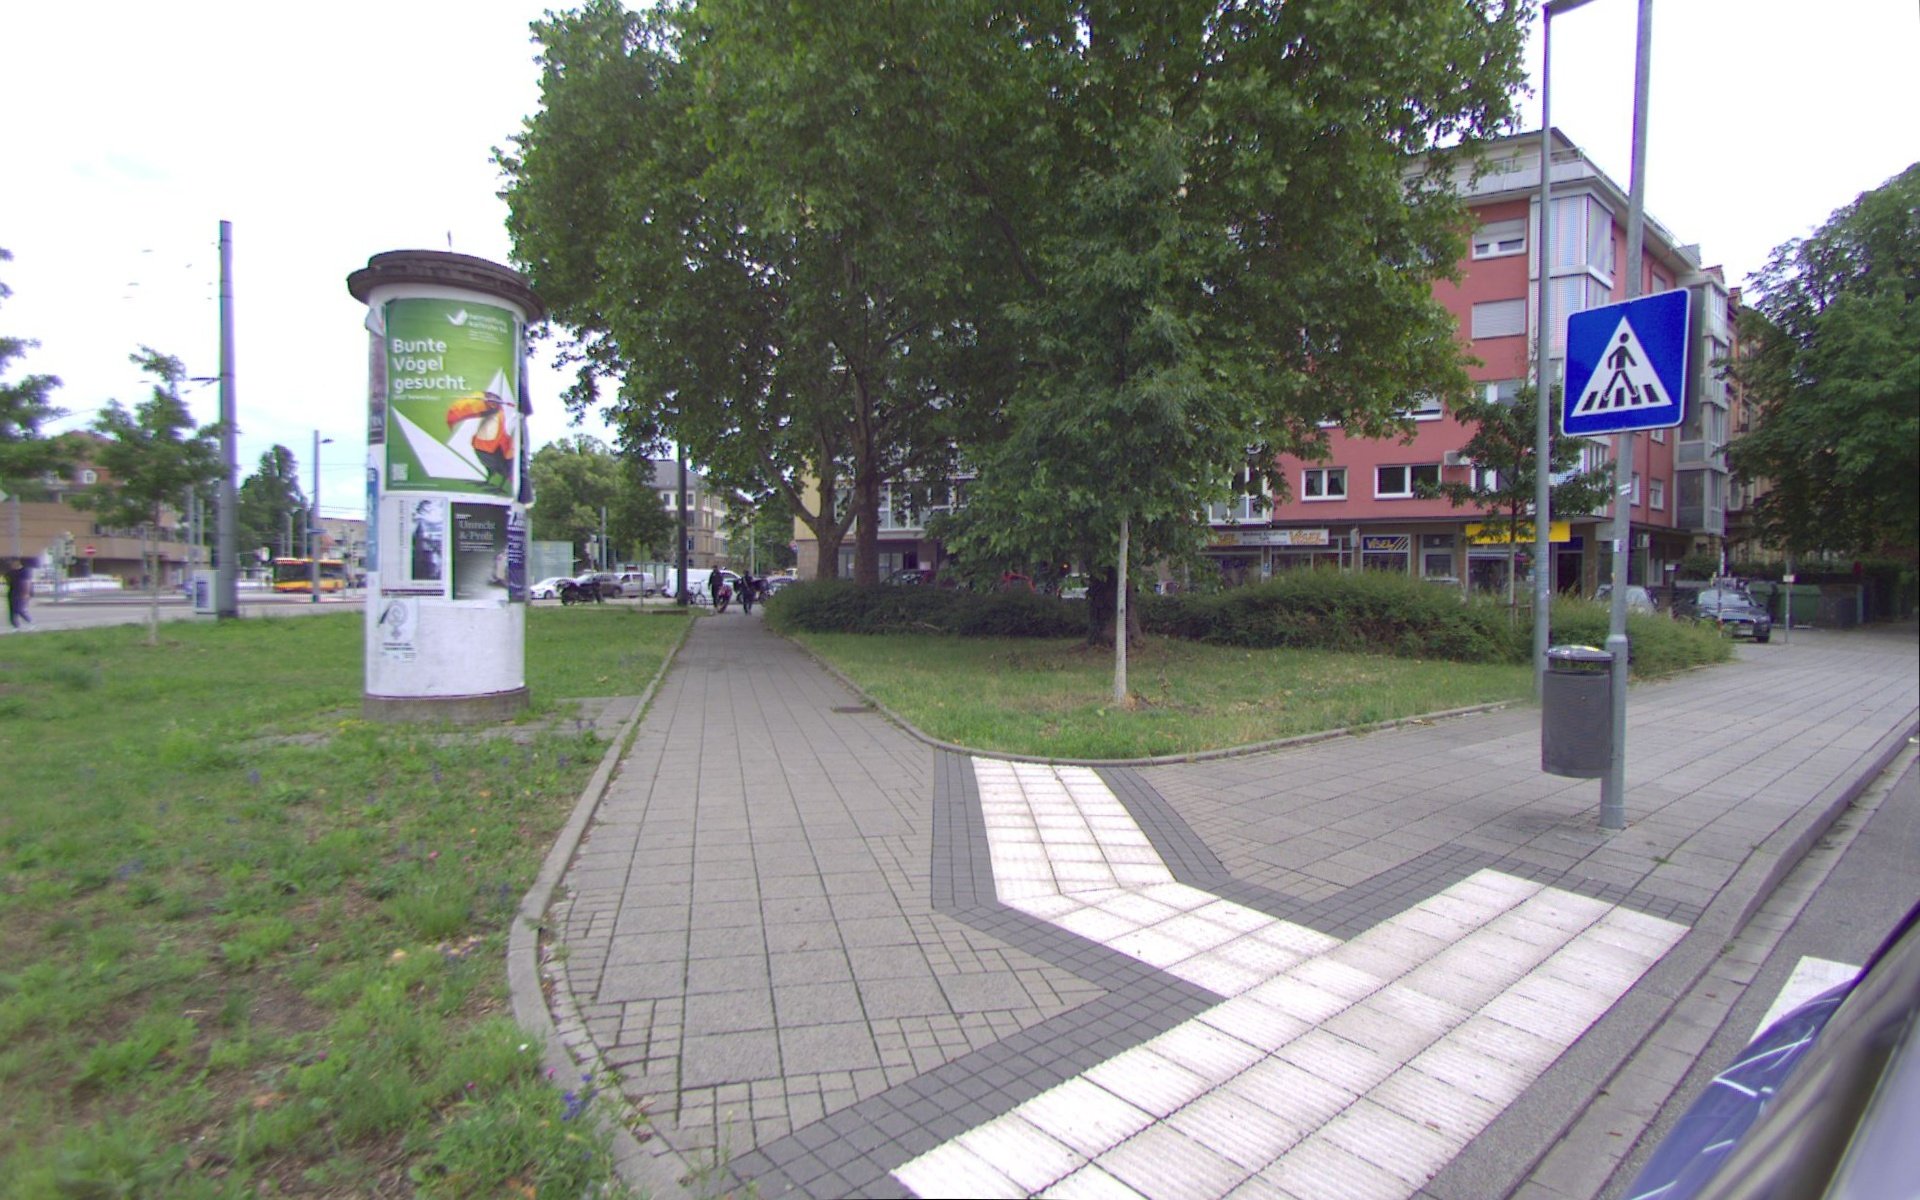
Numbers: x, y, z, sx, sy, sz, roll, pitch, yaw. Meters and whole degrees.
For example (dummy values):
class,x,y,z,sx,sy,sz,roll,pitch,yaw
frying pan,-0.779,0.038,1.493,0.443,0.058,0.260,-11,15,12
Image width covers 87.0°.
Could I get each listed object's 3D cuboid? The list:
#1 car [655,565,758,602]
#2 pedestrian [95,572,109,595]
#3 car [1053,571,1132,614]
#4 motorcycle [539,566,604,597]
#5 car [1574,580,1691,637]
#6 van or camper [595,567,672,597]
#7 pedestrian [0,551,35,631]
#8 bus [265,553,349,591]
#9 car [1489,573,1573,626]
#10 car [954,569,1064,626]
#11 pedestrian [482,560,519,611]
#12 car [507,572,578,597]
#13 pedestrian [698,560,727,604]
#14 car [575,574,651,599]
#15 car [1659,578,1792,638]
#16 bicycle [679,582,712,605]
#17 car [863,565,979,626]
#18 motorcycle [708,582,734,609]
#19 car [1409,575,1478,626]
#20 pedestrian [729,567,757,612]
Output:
class,x,y,z,sx,sy,sz,roll,pitch,yaw
car,-14.503,-0.932,58.240,5.618,2.039,2.031,-1,0,-12
pedestrian,-73.025,-1.406,86.123,0.695,1.942,0.624,0,1,-22
car,5.219,-0.333,39.441,1.841,1.567,4.439,1,1,24
motorcycle,-15.427,-0.728,40.224,0.763,1.183,2.352,1,1,39
car,20.670,0.184,31.319,1.836,1.567,4.451,0,2,18
van or camper,-23.135,-1.229,71.967,2.175,2.039,5.104,-1,0,29
pedestrian,-22.529,-0.211,24.038,0.526,1.867,0.988,0,1,-25
bus,-58.303,-2.459,90.724,2.908,3.162,11.564,0,1,-15
car,18.133,-0.057,32.318,1.840,1.567,4.441,1,1,23
car,1.573,-0.111,30.531,1.841,1.567,4.439,1,1,24
pedestrian,-17.687,-0.555,38.991,0.876,1.955,1.014,1,1,12
car,-26.737,-0.977,64.915,1.759,1.482,3.959,-1,0,29
pedestrian,-10.513,-0.747,43.073,0.929,1.820,1.087,-1,0,1
car,-22.313,-0.862,65.203,1.848,1.567,4.422,-1,0,33
car,22.525,0.170,29.986,1.837,1.567,4.448,0,2,19
bicycle,-10.759,-0.258,41.186,1.254,0.929,0.588,1,1,31
car,-1.112,-0.166,31.376,1.841,1.744,4.439,1,1,24
motorcycle,-9.220,-0.185,39.064,0.855,1.010,1.017,0,1,-20
car,15.841,-0.031,33.313,1.840,1.567,4.441,1,1,23
pedestrian,-8.133,-0.393,37.956,0.631,1.659,0.864,1,1,27
